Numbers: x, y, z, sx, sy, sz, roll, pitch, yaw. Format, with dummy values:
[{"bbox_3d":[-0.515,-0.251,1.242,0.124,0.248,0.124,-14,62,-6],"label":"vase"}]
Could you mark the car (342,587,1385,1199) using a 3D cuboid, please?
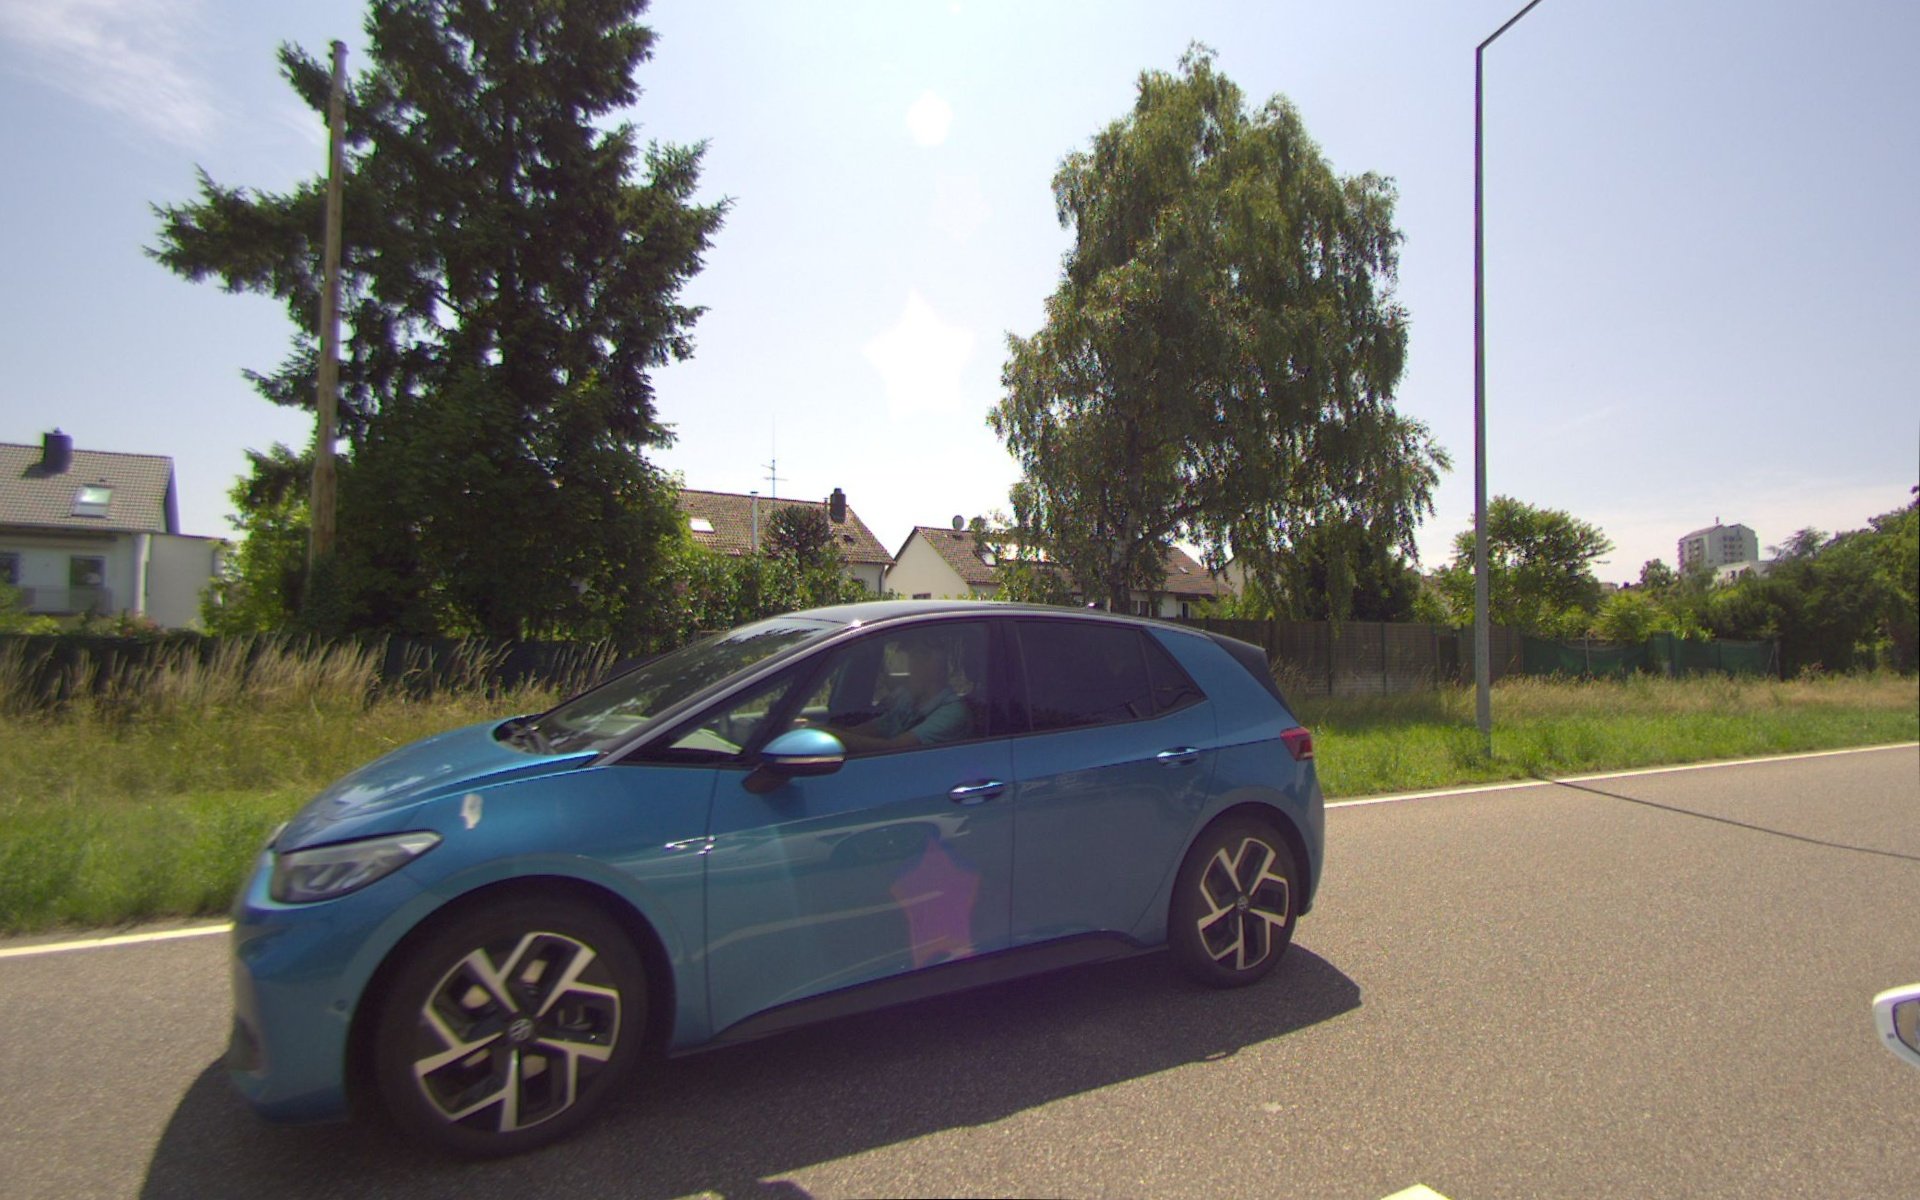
[{"bbox_3d":[-0.244,0.806,4.243,3.954,1.525,1.806,2,-2,-31],"label":"car"}]
